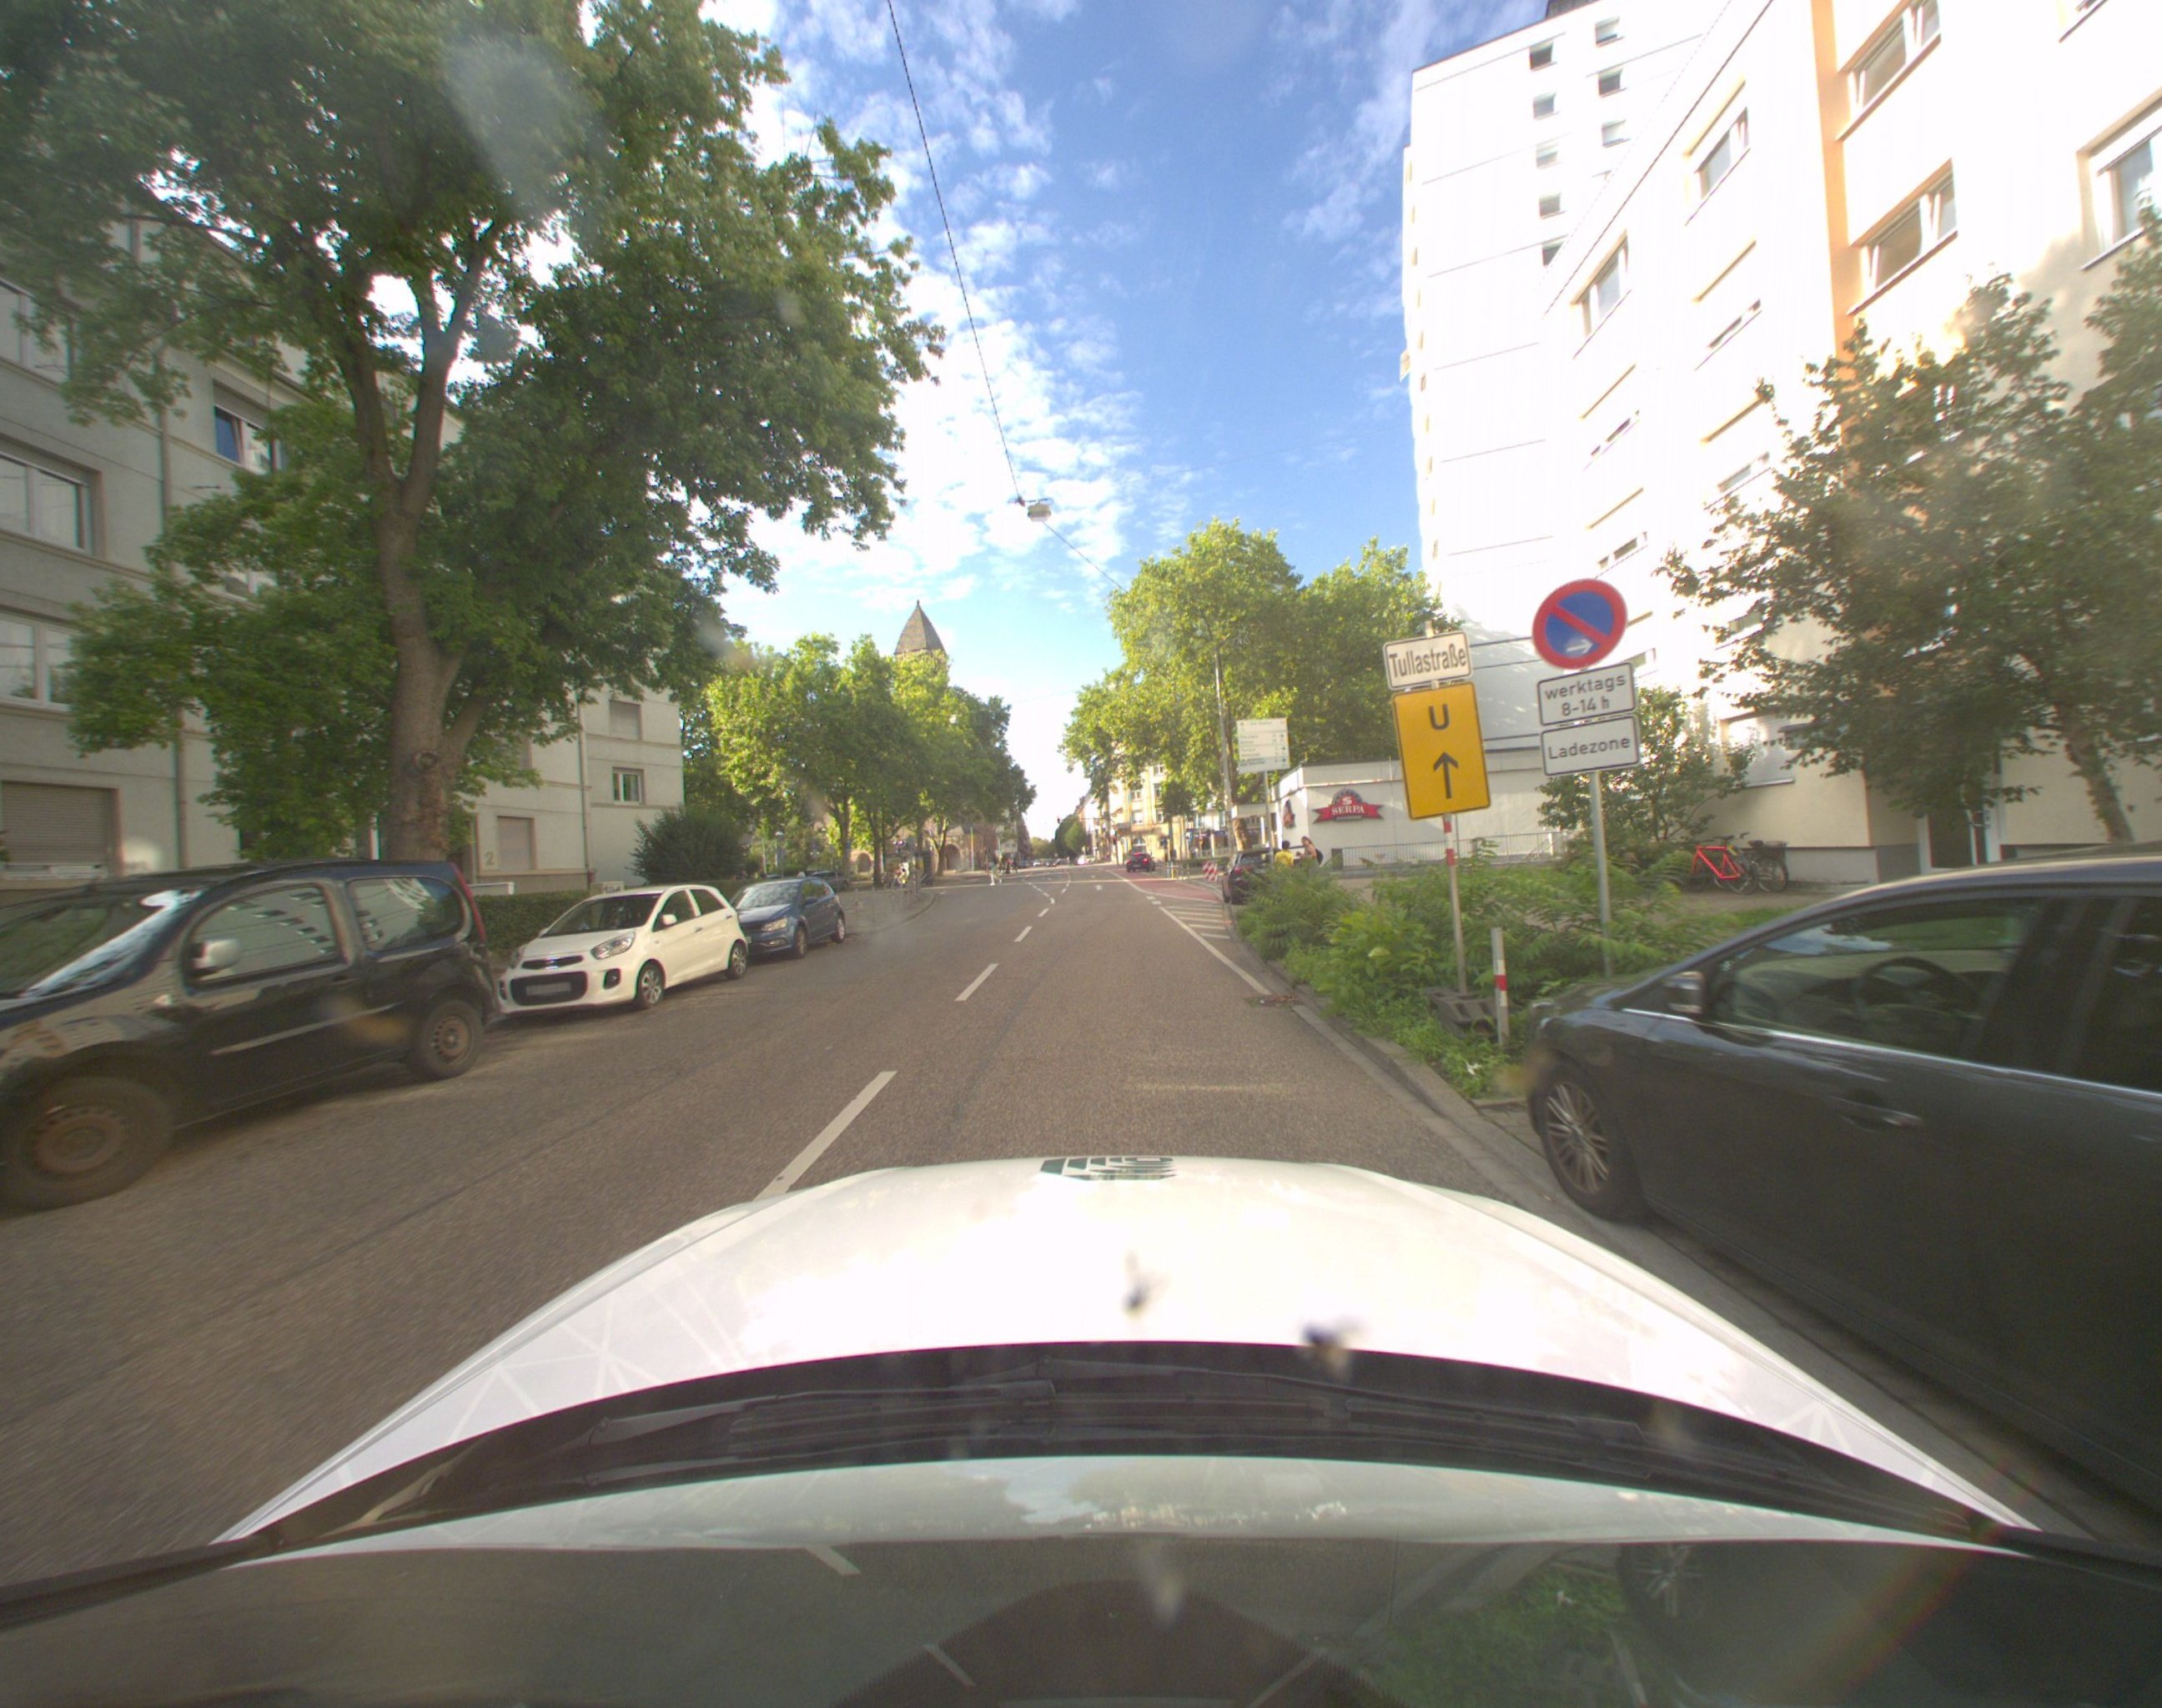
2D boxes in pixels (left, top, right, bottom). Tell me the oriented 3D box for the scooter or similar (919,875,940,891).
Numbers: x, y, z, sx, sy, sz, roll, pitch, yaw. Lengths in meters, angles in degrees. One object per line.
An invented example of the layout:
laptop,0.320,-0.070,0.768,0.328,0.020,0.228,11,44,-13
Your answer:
scooter or similar,-9.522,1.813,51.195,1.020,0.923,0.798,-3,-1,-41

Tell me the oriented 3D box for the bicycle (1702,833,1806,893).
bicycle,11.792,0.154,14.327,0.476,0.963,1.552,-3,0,-1

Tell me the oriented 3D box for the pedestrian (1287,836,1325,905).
pedestrian,5.522,0.397,20.022,0.650,1.645,0.743,-3,-1,1

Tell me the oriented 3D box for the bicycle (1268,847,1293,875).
bicycle,9.214,0.325,37.686,0.765,1.206,1.818,-5,0,4

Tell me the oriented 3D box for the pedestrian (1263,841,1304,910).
pedestrian,4.744,0.492,19.108,0.650,1.538,0.743,-5,-1,1

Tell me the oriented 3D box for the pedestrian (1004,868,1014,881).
pedestrian,-8.215,2.367,92.698,0.774,1.432,0.735,-4,0,23

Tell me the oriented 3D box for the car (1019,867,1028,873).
car,-12.052,3.292,169.761,1.545,1.230,3.587,-3,0,1

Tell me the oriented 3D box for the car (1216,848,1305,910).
car,4.826,0.619,22.413,1.752,1.411,4.239,-5,0,5

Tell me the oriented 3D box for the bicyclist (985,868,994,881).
bicyclist,-11.223,2.479,99.866,0.772,1.579,0.629,-4,-1,23

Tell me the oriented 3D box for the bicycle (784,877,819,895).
bicycle,-16.962,1.954,49.477,1.903,0.994,0.767,-3,0,21

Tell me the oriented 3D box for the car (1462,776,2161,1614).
car,2.768,0.569,1.915,1.684,1.528,4.237,-4,0,0

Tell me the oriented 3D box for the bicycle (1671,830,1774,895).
bicycle,11.239,0.141,14.326,0.520,1.056,1.552,-3,0,-1

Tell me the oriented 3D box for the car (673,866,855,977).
car,-5.776,1.139,15.397,1.794,1.620,3.802,-6,0,0

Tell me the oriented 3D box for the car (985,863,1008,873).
car,-16.654,2.744,160.149,4.022,1.596,1.846,-4,0,-41

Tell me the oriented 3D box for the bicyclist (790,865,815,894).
bicyclist,-16.897,1.563,49.396,1.100,1.691,0.819,-3,0,21

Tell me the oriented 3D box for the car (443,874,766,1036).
car,-5.955,1.155,10.822,1.792,1.493,3.805,-6,0,2

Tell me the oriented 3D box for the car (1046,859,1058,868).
car,-5.101,1.692,144.131,1.944,1.372,3.996,-4,0,-2

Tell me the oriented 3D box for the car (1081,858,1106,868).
car,2.034,1.529,136.813,3.982,1.420,1.996,-4,0,-6

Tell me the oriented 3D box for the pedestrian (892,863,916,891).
pedestrian,-10.953,1.433,50.386,1.081,1.654,0.806,-3,-1,-39

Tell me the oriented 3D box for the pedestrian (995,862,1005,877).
pedestrian,-9.418,1.805,94.417,0.807,1.629,0.608,-6,0,22

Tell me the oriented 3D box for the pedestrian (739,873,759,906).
pedestrian,-16.306,1.749,40.006,0.736,1.578,0.726,-4,0,-28

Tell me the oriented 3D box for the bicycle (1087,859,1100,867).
bicycle,2.078,1.486,135.002,2.024,1.082,0.628,-4,0,-12

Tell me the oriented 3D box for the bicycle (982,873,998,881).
bicycle,-11.155,2.818,99.845,1.813,0.955,0.576,-4,-1,24

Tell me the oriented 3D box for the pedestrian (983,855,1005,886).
pedestrian,-5.121,0.982,47.655,1.076,1.753,0.914,-3,-1,-15

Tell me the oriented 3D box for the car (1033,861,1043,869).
car,-11.078,2.801,209.452,1.986,2.013,4.001,-4,0,1

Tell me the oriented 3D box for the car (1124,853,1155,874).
car,4.545,0.717,62.611,1.740,1.413,4.014,-3,0,12

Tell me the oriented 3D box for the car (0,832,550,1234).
car,-5.929,0.915,5.488,1.717,1.882,4.192,-5,0,1

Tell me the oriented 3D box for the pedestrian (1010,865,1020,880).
pedestrian,-7.637,2.163,94.615,0.774,1.662,0.782,-4,0,20

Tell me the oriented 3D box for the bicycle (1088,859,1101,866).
bicycle,2.277,1.390,134.417,2.024,1.082,0.617,-4,0,-12
